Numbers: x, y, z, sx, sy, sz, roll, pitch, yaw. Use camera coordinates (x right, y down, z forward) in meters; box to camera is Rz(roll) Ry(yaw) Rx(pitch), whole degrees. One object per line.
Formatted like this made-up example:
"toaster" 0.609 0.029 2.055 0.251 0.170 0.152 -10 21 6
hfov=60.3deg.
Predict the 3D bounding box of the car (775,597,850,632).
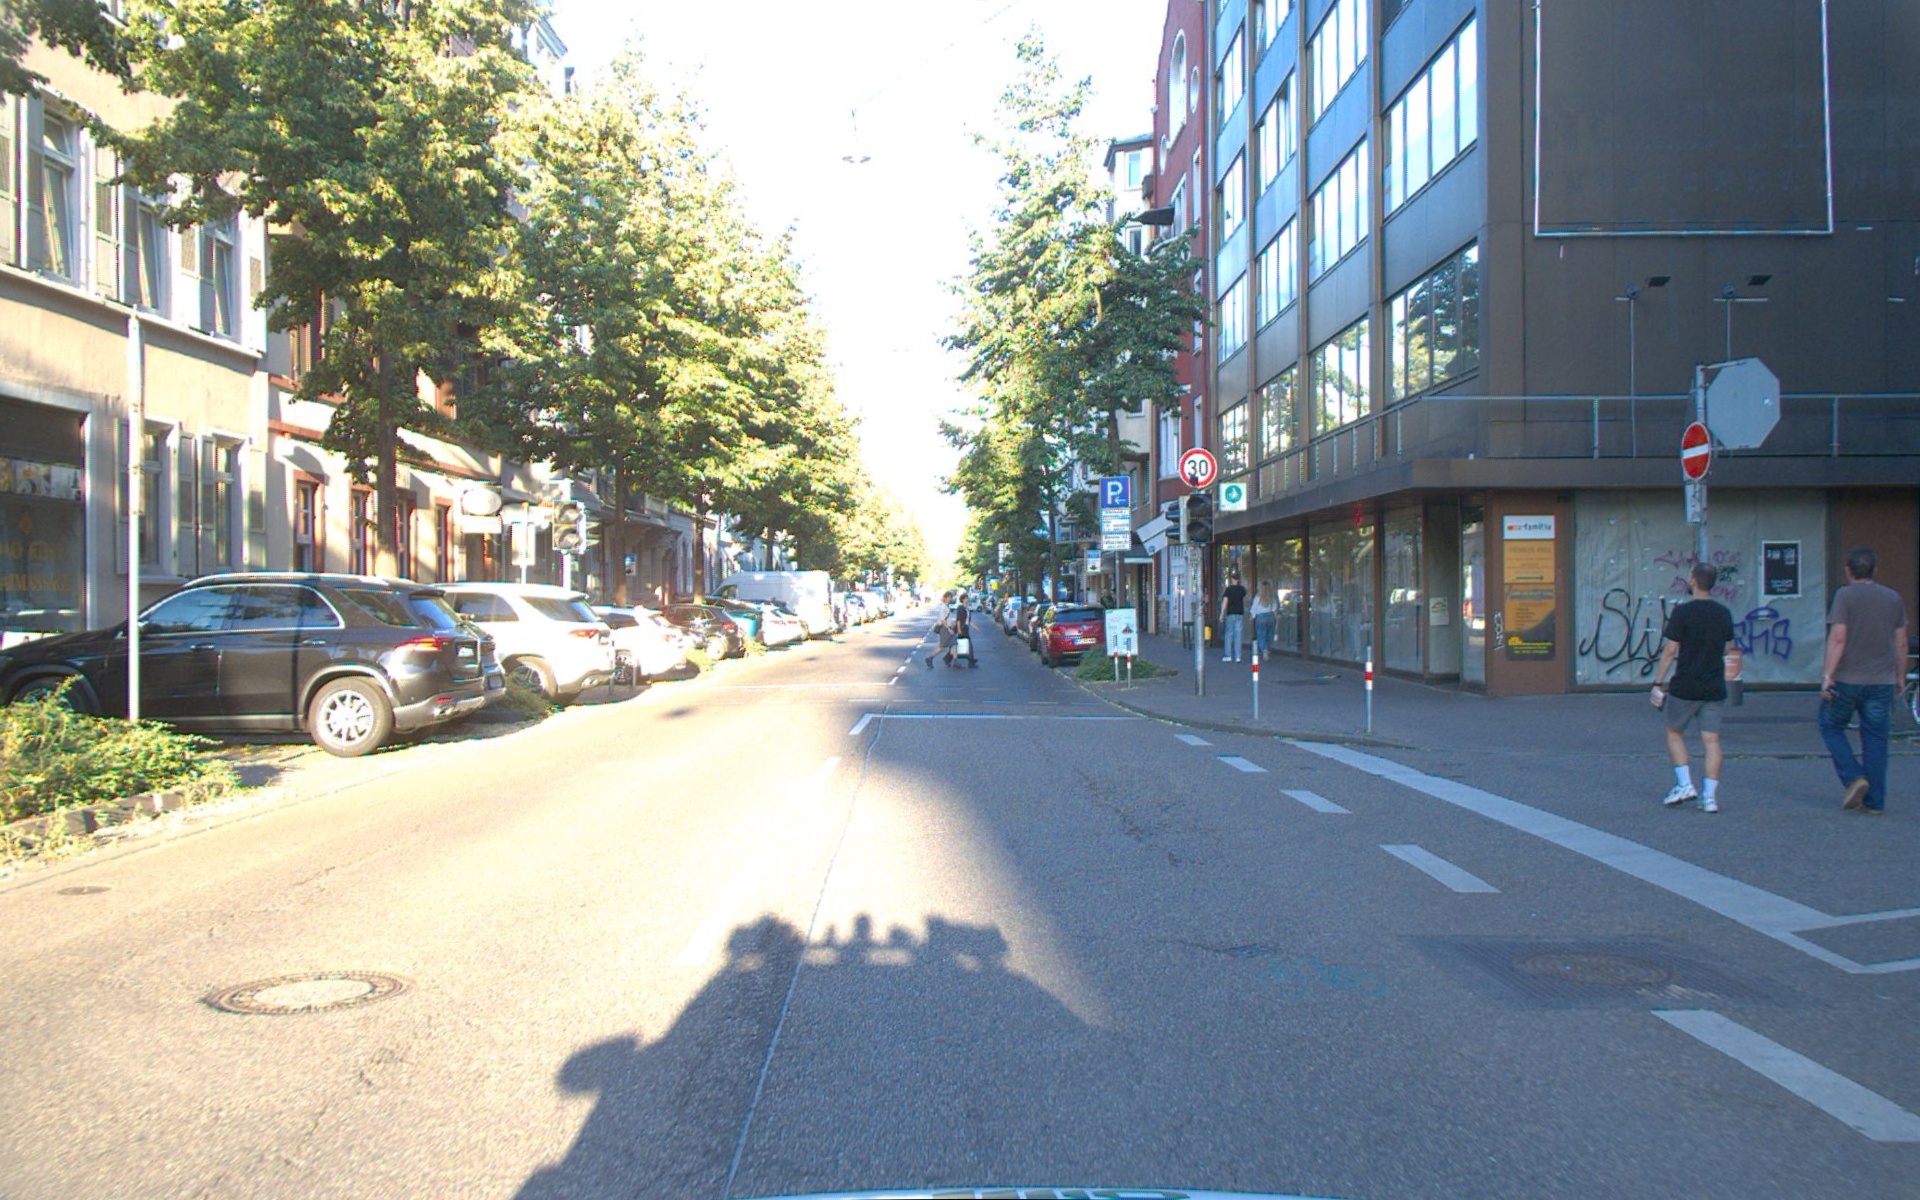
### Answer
"car" -7.495 0.717 84.371 3.663 1.738 2.000 -1 0 -1

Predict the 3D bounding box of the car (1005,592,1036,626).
"car" 2.926 0.457 80.003 1.282 1.628 2.659 0 -1 -3

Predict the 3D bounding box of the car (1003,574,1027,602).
"car" 3.285 -0.713 99.114 1.282 1.628 2.659 0 -1 -3

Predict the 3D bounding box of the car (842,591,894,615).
"car" -6.716 0.219 120.964 3.663 1.738 2.000 0 0 -1

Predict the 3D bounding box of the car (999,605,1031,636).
"car" 2.409 0.896 72.781 1.182 1.323 2.659 0 -1 -3

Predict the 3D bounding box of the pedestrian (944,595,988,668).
"pedestrian" 0.147 0.737 39.385 0.717 1.712 0.746 1 0 -40

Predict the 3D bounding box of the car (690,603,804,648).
"car" -7.308 0.861 57.043 3.663 1.475 2.000 -1 0 -1

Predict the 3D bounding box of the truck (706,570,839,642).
"truck" -7.150 0.225 63.486 4.840 2.661 2.000 -1 0 -1

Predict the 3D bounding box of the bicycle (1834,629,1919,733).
"bicycle" 10.123 0.856 17.563 0.408 1.048 1.682 -1 1 -18

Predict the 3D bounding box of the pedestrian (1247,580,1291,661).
"pedestrian" 6.693 0.432 35.829 0.750 1.718 0.786 -1 0 -3

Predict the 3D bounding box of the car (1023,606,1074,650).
"car" 2.783 0.881 52.539 1.278 1.315 3.012 2 -1 -3

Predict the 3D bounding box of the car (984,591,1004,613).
"car" 2.532 0.169 123.443 1.282 1.628 2.659 0 -1 -3

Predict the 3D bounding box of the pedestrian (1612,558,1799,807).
"pedestrian" 5.270 0.550 11.773 0.739 1.669 1.259 0 0 -1

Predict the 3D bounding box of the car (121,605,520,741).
"car" -7.399 0.819 19.428 3.950 1.469 1.831 0 0 -1

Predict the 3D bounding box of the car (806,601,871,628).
"car" -7.072 0.816 96.371 3.663 1.519 2.000 -1 0 -1

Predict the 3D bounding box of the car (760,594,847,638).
"car" -6.950 0.687 73.752 3.663 1.891 2.000 0 0 -1

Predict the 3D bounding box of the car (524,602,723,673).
"car" -7.964 0.874 39.474 4.336 1.627 2.000 -1 0 -1

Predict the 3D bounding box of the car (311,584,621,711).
"car" -7.049 0.656 23.900 3.908 1.738 1.833 0 0 -1

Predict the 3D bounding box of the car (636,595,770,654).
"car" -7.623 0.720 49.308 3.663 1.671 2.000 0 0 -1

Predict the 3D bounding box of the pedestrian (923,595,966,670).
"pedestrian" -0.361 0.743 38.494 0.710 1.702 0.700 0 0 -40

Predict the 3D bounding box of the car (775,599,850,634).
"car" -7.120 0.784 80.085 3.513 1.623 1.700 0 0 -1

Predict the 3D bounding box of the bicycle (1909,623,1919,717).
"bicycle" 11.332 0.800 18.053 0.409 1.056 1.760 -2 1 -26

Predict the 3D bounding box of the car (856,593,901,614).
"car" -6.793 0.315 138.698 3.663 1.738 2.000 0 0 -1

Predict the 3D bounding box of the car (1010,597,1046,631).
"car" 2.692 0.572 65.756 1.182 1.323 2.659 0 -1 -3

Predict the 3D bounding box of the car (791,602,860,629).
"car" -7.423 0.844 91.526 3.663 1.475 2.000 -1 0 -1

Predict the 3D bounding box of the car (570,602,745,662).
"car" -8.065 0.850 44.413 4.336 1.529 2.000 -1 0 -1

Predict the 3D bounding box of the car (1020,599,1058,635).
"car" 2.971 0.638 62.556 1.182 1.323 2.659 0 -1 -3

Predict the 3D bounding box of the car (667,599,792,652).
"car" -7.218 0.789 52.038 3.663 1.624 2.000 -1 0 -1

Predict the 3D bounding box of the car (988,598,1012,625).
"car" 2.514 0.722 103.891 1.282 1.628 2.659 0 -1 -3

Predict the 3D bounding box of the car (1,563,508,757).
"car" -7.166 0.594 17.178 4.358 1.867 2.033 0 -1 -1

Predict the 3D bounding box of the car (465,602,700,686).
"car" -7.233 0.830 32.016 4.090 1.533 2.000 1 0 -1

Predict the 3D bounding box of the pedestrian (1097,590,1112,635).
"pedestrian" 5.364 0.467 61.422 0.523 1.650 0.534 0 0 0

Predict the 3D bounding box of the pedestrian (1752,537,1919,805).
"pedestrian" 6.301 0.475 11.750 0.739 1.798 1.222 0 0 -1

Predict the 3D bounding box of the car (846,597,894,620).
"car" -7.073 0.693 130.021 3.663 1.738 2.000 0 0 -1

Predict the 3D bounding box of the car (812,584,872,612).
"car" -7.395 -0.136 104.013 3.663 1.738 2.000 0 0 -1

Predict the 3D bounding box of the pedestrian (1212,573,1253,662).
"pedestrian" 5.892 0.367 35.772 0.700 1.898 0.679 -1 0 -3

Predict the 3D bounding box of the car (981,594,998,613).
"car" 2.602 0.343 145.333 1.282 1.628 2.659 0 -1 -3

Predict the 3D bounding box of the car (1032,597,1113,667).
"car" 2.737 0.769 40.693 1.545 1.569 3.395 -2 -1 -3
